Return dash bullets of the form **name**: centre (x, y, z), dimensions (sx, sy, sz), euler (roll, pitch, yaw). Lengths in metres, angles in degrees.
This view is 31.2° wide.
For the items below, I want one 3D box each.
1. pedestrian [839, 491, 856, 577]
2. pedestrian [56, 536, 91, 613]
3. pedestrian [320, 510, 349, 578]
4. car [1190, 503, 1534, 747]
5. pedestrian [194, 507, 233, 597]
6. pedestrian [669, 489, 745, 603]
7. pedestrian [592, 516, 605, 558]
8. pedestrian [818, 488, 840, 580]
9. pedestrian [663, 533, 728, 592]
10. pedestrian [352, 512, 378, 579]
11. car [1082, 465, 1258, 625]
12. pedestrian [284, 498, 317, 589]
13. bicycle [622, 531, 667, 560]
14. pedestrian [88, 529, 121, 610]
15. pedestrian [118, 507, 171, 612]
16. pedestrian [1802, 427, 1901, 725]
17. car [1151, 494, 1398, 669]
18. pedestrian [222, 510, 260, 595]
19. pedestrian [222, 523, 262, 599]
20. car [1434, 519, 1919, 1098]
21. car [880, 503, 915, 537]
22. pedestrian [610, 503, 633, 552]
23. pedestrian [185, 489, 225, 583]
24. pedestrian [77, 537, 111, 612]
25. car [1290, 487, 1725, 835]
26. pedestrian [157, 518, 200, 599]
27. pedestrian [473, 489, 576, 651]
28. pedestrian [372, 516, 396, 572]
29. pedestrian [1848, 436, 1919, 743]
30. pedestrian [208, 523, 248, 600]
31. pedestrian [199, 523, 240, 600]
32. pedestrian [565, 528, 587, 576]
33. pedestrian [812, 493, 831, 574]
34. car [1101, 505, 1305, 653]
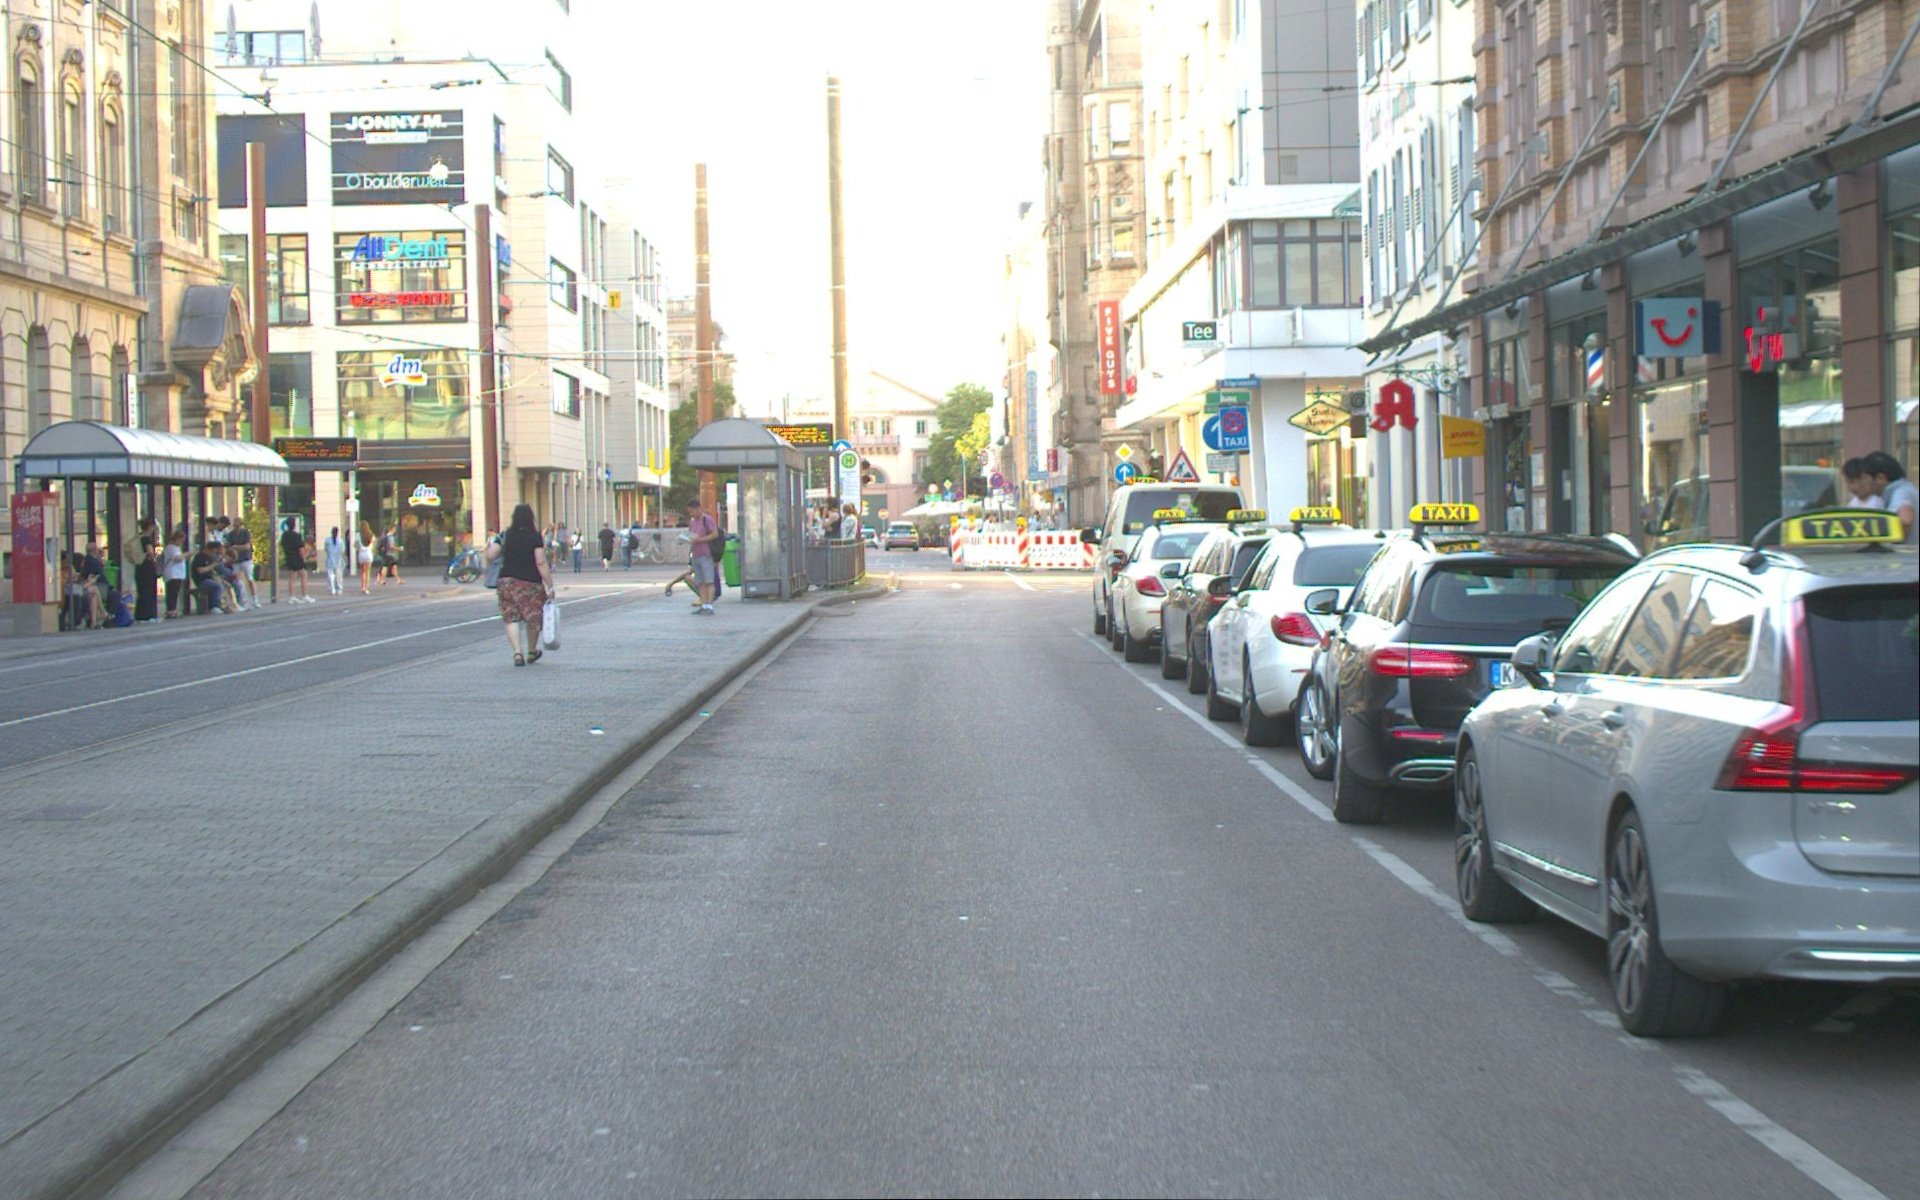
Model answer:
- **pedestrian**: centre (-2.372, -1.383, 72.188), dimensions (0.341, 1.789, 0.544), euler (0, 1, -3)
- **pedestrian**: centre (-12.809, -0.368, 49.671), dimensions (0.364, 1.099, 0.429), euler (0, 1, 5)
- **pedestrian**: centre (-14.245, -1.278, 78.289), dimensions (0.518, 1.520, 0.501), euler (-1, 1, -27)
- **car**: centre (2.703, 0.117, 24.147), dimensions (1.732, 1.505, 4.865), euler (1, 1, -1)
- **pedestrian**: centre (-13.700, -0.888, 63.112), dimensions (0.518, 1.640, 0.638), euler (-1, 0, 3)
- **pedestrian**: centre (-3.666, -0.792, 49.816), dimensions (0.687, 1.632, 0.859), euler (0, 2, 40)
- **pedestrian**: centre (-12.876, -2.247, 122.456), dimensions (0.390, 1.510, 0.506), euler (-1, 1, -2)
- **pedestrian**: centre (-2.535, -1.273, 66.356), dimensions (0.412, 1.761, 0.594), euler (0, 1, -3)
- **pedestrian**: centre (-4.222, -0.599, 54.861), dimensions (0.799, 0.936, 0.692), euler (0, 1, 22)
- **pedestrian**: centre (-13.590, -1.246, 78.560), dimensions (0.525, 1.520, 0.503), euler (-1, 1, -14)
- **car**: centre (2.655, -0.713, 44.445), dimensions (1.876, 1.917, 4.700), euler (1, 1, -1)
- **pedestrian**: centre (-12.841, -1.108, 66.979), dimensions (0.559, 1.770, 0.469), euler (-1, 1, -5)
- **bicycle**: centre (-12.148, -2.111, 132.433), dimensions (1.696, 1.118, 0.451), euler (0, 1, 2)
- **pedestrian**: centre (-12.713, -0.460, 51.102), dimensions (0.364, 1.196, 0.429), euler (0, 1, 5)
- **pedestrian**: centre (-12.834, -0.639, 54.122), dimensions (0.518, 1.645, 0.637), euler (-1, 1, 22)
- **pedestrian**: centre (5.376, -0.148, 20.746), dimensions (0.372, 1.762, 0.456), euler (-3, 1, -4)
- **car**: centre (2.793, -0.195, 31.436), dimensions (1.726, 1.472, 4.821), euler (0, 1, -1)
- **pedestrian**: centre (-13.362, -0.883, 63.880), dimensions (0.518, 1.564, 0.638), euler (-1, 0, 3)
- **pedestrian**: centre (-12.699, -0.688, 60.825), dimensions (0.518, 1.323, 0.638), euler (-1, 0, 3)
- **car**: centre (2.832, 0.493, 11.330), dimensions (1.806, 1.470, 4.694), euler (0, 2, -1)
- **car**: centre (-3.567, -4.553, 195.882), dimensions (1.993, 1.897, 4.000), euler (0, 1, -1)
- **pedestrian**: centre (-12.124, -2.579, 123.079), dimensions (0.782, 1.745, 0.600), euler (0, 1, -4)
- **pedestrian**: centre (-13.625, -1.153, 62.051), dimensions (0.674, 1.685, 0.638), euler (-1, 0, -10)
- **pedestrian**: centre (-12.659, -0.377, 50.257), dimensions (0.364, 1.099, 0.429), euler (0, 1, 5)
- **car**: centre (2.762, 0.247, 18.255), dimensions (1.733, 1.585, 4.442), euler (1, 1, 2)
- **pedestrian**: centre (-12.861, -0.680, 56.573), dimensions (0.518, 1.323, 0.638), euler (-1, 0, 3)
- **pedestrian**: centre (-4.098, -0.286, 32.408), dimensions (0.846, 1.496, 0.901), euler (-1, 1, -1)
- **pedestrian**: centre (-16.467, -1.590, 98.282), dimensions (0.569, 1.587, 0.448), euler (-1, 1, -2)
- **pedestrian**: centre (5.549, -0.073, 20.204), dimensions (0.372, 1.762, 0.663), euler (-3, 1, -4)
- **pedestrian**: centre (-12.762, -0.674, 59.954), dimensions (0.518, 1.323, 0.638), euler (-1, 0, 3)
- **pedestrian**: centre (-12.751, -0.661, 59.186), dimensions (0.518, 1.323, 0.638), euler (-1, 0, 3)
- **pedestrian**: centre (-13.522, -1.687, 121.027), dimensions (0.649, 1.668, 0.530), euler (-1, 1, 8)
- **pedestrian**: centre (-2.797, -1.337, 69.366), dimensions (0.385, 1.636, 0.549), euler (0, 1, -3)
- **car**: centre (2.612, -0.284, 37.982), dimensions (1.806, 1.478, 4.779), euler (1, 2, -1)
